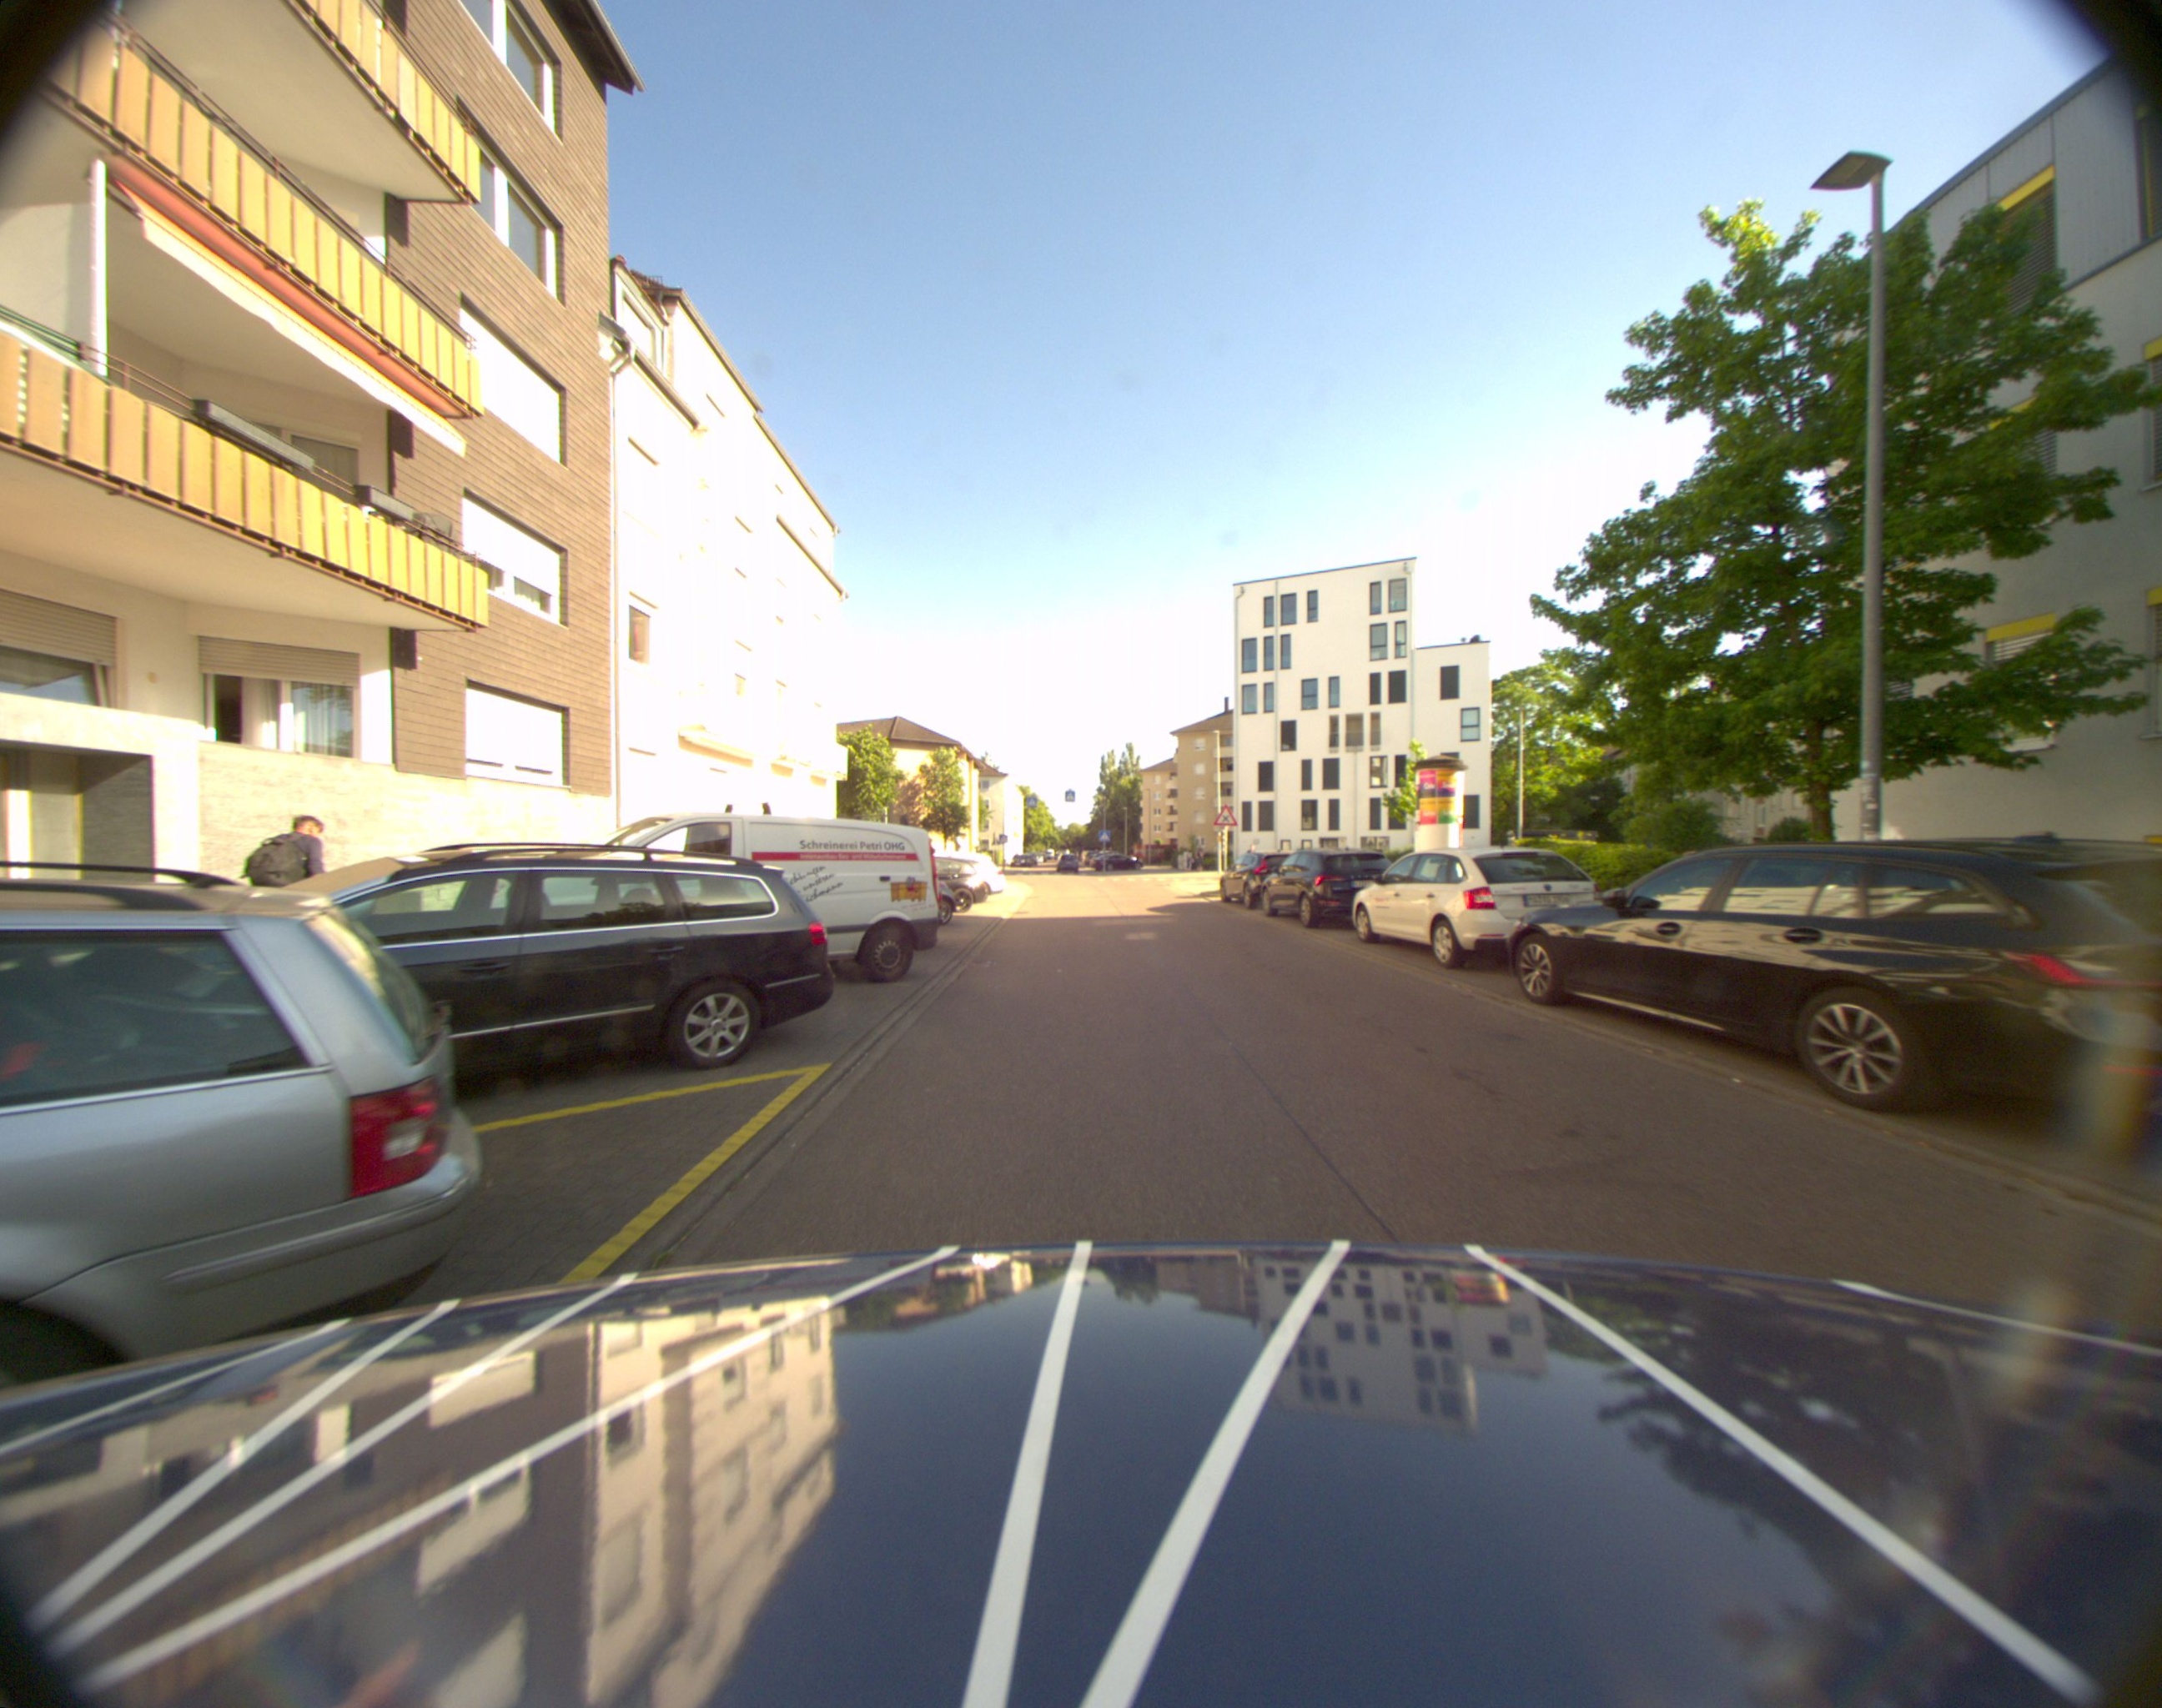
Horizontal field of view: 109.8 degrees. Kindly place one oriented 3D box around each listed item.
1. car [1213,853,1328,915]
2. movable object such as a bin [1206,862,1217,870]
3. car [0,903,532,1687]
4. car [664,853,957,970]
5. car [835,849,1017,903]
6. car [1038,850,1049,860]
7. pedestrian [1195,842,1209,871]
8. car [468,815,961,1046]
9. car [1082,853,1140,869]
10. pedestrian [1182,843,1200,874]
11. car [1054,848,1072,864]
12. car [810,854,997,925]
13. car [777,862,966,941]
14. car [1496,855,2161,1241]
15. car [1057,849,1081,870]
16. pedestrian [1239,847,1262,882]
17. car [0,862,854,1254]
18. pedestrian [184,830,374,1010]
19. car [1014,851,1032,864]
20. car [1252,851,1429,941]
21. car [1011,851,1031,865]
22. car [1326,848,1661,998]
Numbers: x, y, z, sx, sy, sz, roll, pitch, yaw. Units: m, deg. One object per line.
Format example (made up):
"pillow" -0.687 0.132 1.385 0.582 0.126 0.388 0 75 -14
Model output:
"car" 4.836 0.713 19.999 1.794 1.402 4.222 -1 1 -2
"movable object such as a bin" 9.027 0.830 52.575 0.273 0.538 0.684 -2 2 -45
"car" -3.842 0.978 1.180 4.657 1.457 1.685 0 2 -43
"car" -4.147 0.818 11.839 4.005 1.481 1.612 2 2 -32
"car" -4.550 0.675 22.654 4.884 1.455 1.968 2 -1 -36
"car" -7.012 0.220 140.645 1.999 1.685 3.997 -1 2 -3
"pedestrian" 7.898 0.145 49.640 0.789 1.875 0.847 0 3 15
"car" -3.873 0.629 8.503 4.540 1.887 2.043 1 2 -42
"car" 2.614 0.585 65.926 4.571 1.160 1.995 -2 1 -30
"pedestrian" 7.640 0.303 52.829 0.776 2.108 0.957 -2 1 -22
"car" -2.008 0.217 86.698 1.890 1.496 4.636 1 3 1
"car" -4.391 0.796 19.041 4.179 1.489 1.818 -1 3 -35
"car" -4.267 0.896 15.704 3.404 1.380 1.536 -1 1 -41
"car" 4.948 0.754 5.217 1.737 1.431 4.611 0 0 1
"car" -0.982 0.394 63.025 1.841 1.496 4.135 0 3 -1
"pedestrian" 8.246 0.496 36.894 0.977 1.704 0.875 0 1 21
"car" -3.877 0.852 4.859 1.751 1.504 4.336 2 2 44
"pedestrian" -7.531 0.577 7.183 0.834 1.584 0.889 1 1 4
"car" -6.743 0.387 88.123 1.999 1.237 3.996 -1 3 -5
"car" 4.954 0.705 15.240 1.913 1.470 4.378 -1 1 -2
"car" -6.602 0.387 82.800 1.909 1.506 3.997 0 0 -8
"car" 5.111 0.703 10.341 1.913 1.521 4.623 -1 1 -2
